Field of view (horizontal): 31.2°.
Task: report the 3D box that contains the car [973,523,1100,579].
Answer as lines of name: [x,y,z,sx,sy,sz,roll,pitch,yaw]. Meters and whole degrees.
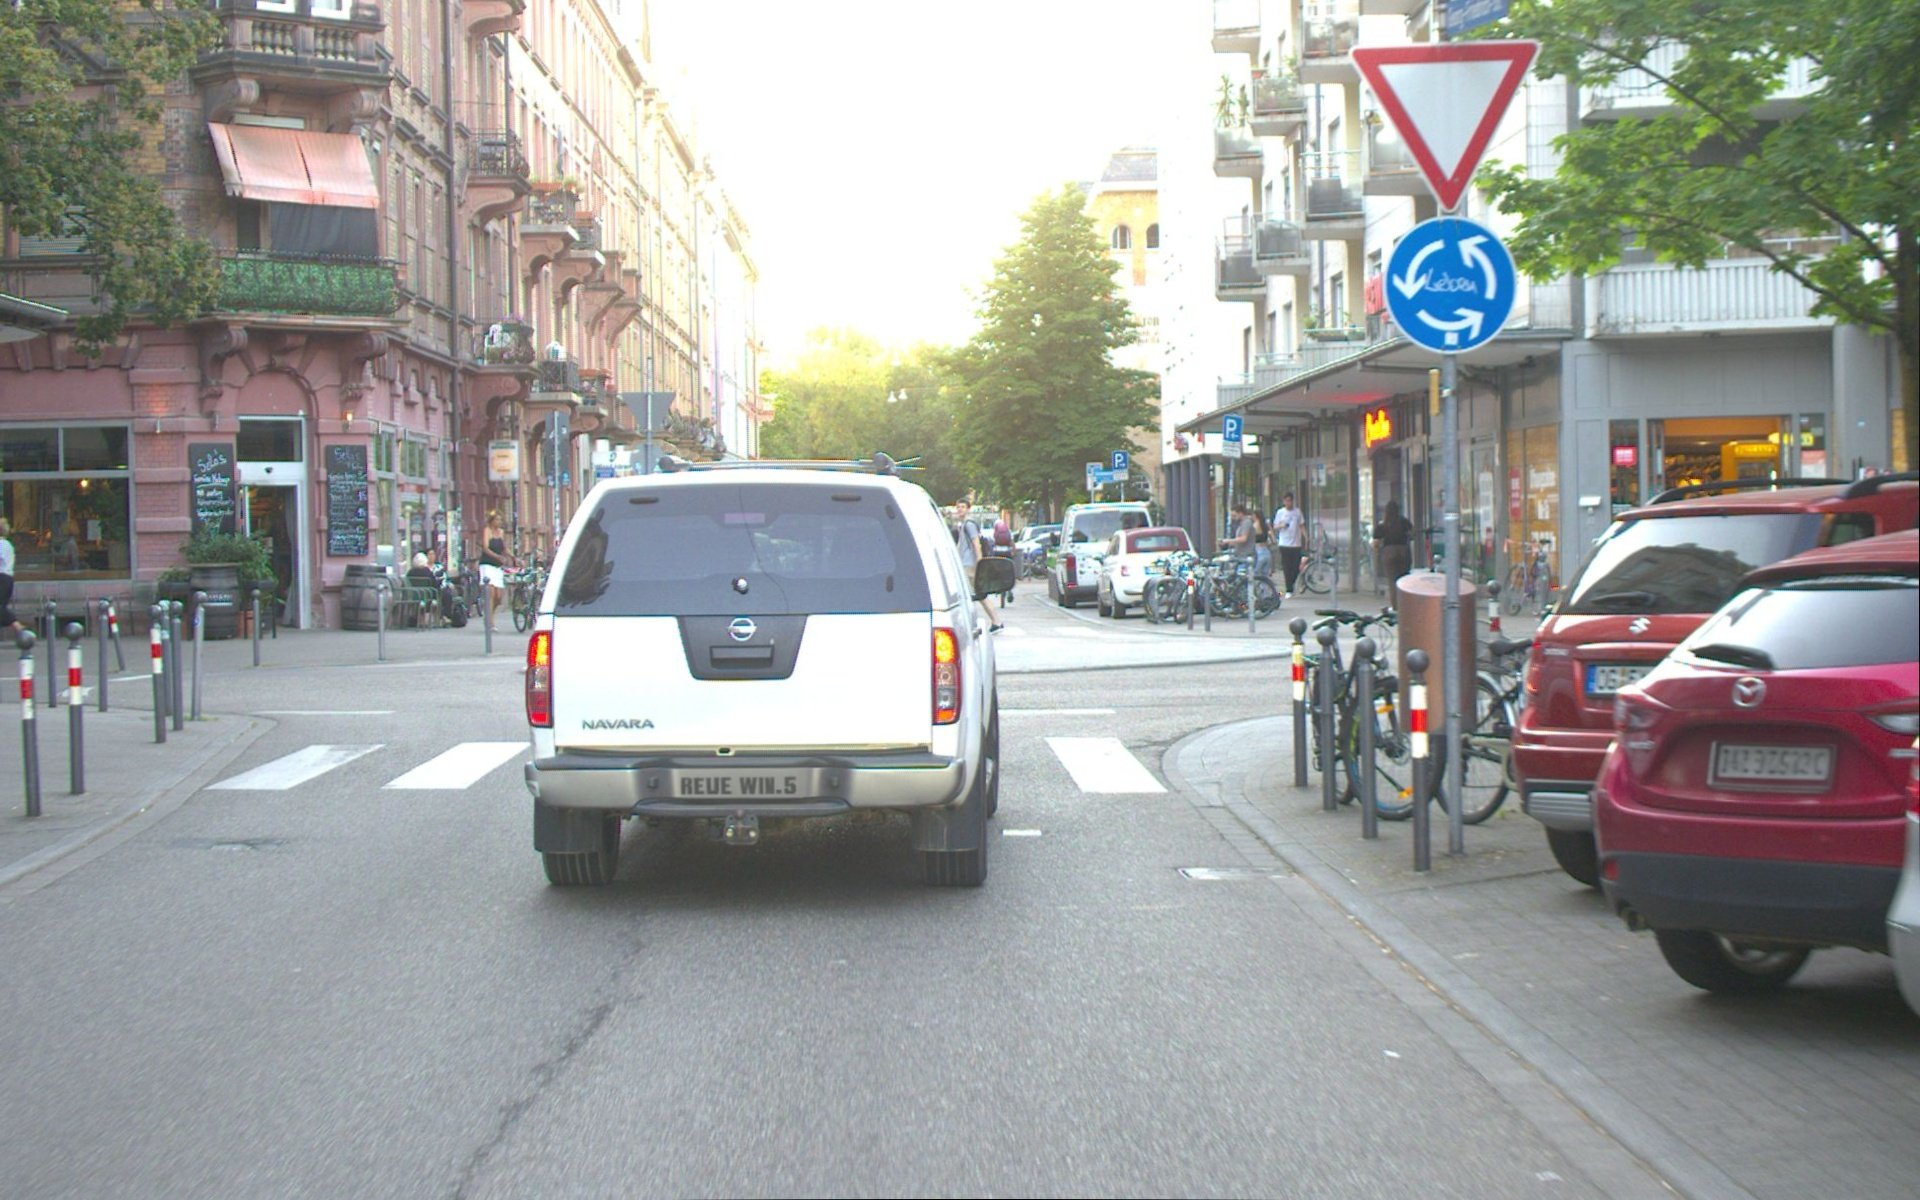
car: [2.459,-1.587,110.709,3.986,1.744,1.841,1,1,-2]

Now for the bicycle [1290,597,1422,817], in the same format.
bicycle: [2.010,0.522,17.569,0.364,1.060,1.552,1,1,-5]

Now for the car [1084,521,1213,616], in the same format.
car: [3.174,-0.542,58.543,1.834,1.536,4.000,1,1,-2]

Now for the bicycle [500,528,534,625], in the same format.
bicycle: [-6.701,-0.366,52.028,0.424,1.437,1.905,1,1,-5]

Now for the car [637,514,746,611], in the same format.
car: [-5.020,-0.710,64.754,1.834,1.744,4.000,1,1,-2]

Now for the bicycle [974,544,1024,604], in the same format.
bicycle: [0.778,-0.517,67.756,0.838,1.167,1.935,1,1,5]

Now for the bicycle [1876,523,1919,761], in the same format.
bicycle: [5.754,0.230,18.244,0.597,1.284,1.722,-1,2,-37]

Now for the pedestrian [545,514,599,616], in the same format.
pedestrian: [-6.254,-0.567,55.438,0.797,1.615,0.945,1,0,-3]

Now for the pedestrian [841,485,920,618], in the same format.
pedestrian: [-1.038,-0.640,45.175,0.615,1.730,0.905,1,1,33]

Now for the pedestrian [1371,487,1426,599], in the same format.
pedestrian: [6.553,-0.845,51.407,0.720,1.657,0.702,1,0,1]

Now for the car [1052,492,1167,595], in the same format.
car: [2.898,-1.095,67.316,1.942,1.927,4.000,1,1,-2]

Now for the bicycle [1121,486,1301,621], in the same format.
bicycle: [3.775,-0.700,51.882,2.647,2.007,0.638,1,0,0]

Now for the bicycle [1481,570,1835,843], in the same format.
bicycle: [3.174,0.470,15.632,1.547,1.157,0.365,-2,1,-15]

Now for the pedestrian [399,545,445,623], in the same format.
pedestrian: [-8.234,-0.249,52.613,0.648,1.187,0.540,1,0,-5]

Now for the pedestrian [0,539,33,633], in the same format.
pedestrian: [-12.897,-0.196,46.441,0.455,1.258,0.574,1,0,24]

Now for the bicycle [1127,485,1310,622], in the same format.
bicycle: [3.828,-0.690,51.067,2.647,2.007,0.638,1,0,0]

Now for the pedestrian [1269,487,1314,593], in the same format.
pedestrian: [6.020,-1.084,62.479,0.720,1.900,0.702,1,0,-1]

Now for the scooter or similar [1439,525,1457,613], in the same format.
scooter or similar: [7.006,-0.447,49.363,0.219,1.233,0.966,0,2,6]

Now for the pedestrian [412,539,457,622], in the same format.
pedestrian: [-8.224,-0.309,53.799,0.648,1.281,0.540,1,0,-5]

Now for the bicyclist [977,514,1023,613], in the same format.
bicyclist: [0.786,-0.714,67.833,0.838,1.937,0.784,1,0,5]

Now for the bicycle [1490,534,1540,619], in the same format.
bicycle: [7.299,-0.313,45.221,0.289,1.108,0.966,0,1,-13]

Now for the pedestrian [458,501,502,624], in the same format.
pedestrian: [-7.229,-0.568,51.722,0.503,1.834,0.573,0,0,-23]

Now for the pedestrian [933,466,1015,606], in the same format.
pedestrian: [0.188,-0.868,46.670,0.903,1.878,0.616,0,1,-31]

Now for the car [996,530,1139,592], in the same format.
car: [3.061,-1.118,98.659,3.986,1.744,1.841,1,1,-2]

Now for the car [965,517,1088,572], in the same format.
car: [2.189,-1.829,113.769,3.986,1.744,1.841,1,1,-2]

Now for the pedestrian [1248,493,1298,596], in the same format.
pedestrian: [5.089,-0.907,55.931,0.720,1.657,0.702,1,0,-1]

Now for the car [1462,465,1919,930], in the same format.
car: [4.197,0.260,14.191,4.036,1.622,1.693,-4,3,-32]

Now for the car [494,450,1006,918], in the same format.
car: [-0.779,0.227,15.785,1.938,1.804,5.001,0,2,1]

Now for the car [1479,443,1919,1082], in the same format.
car: [3.837,0.308,10.851,4.212,1.682,1.933,-5,3,-39]

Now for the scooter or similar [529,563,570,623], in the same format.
scooter or similar: [-6.445,-0.111,53.933,0.233,0.926,1.266,0,1,-26]

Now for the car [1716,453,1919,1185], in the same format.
car: [4.089,0.352,8.419,4.211,1.617,1.933,-5,2,-34]

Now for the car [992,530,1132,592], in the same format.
car: [2.966,-1.143,100.896,3.986,1.744,1.841,1,1,-2]
